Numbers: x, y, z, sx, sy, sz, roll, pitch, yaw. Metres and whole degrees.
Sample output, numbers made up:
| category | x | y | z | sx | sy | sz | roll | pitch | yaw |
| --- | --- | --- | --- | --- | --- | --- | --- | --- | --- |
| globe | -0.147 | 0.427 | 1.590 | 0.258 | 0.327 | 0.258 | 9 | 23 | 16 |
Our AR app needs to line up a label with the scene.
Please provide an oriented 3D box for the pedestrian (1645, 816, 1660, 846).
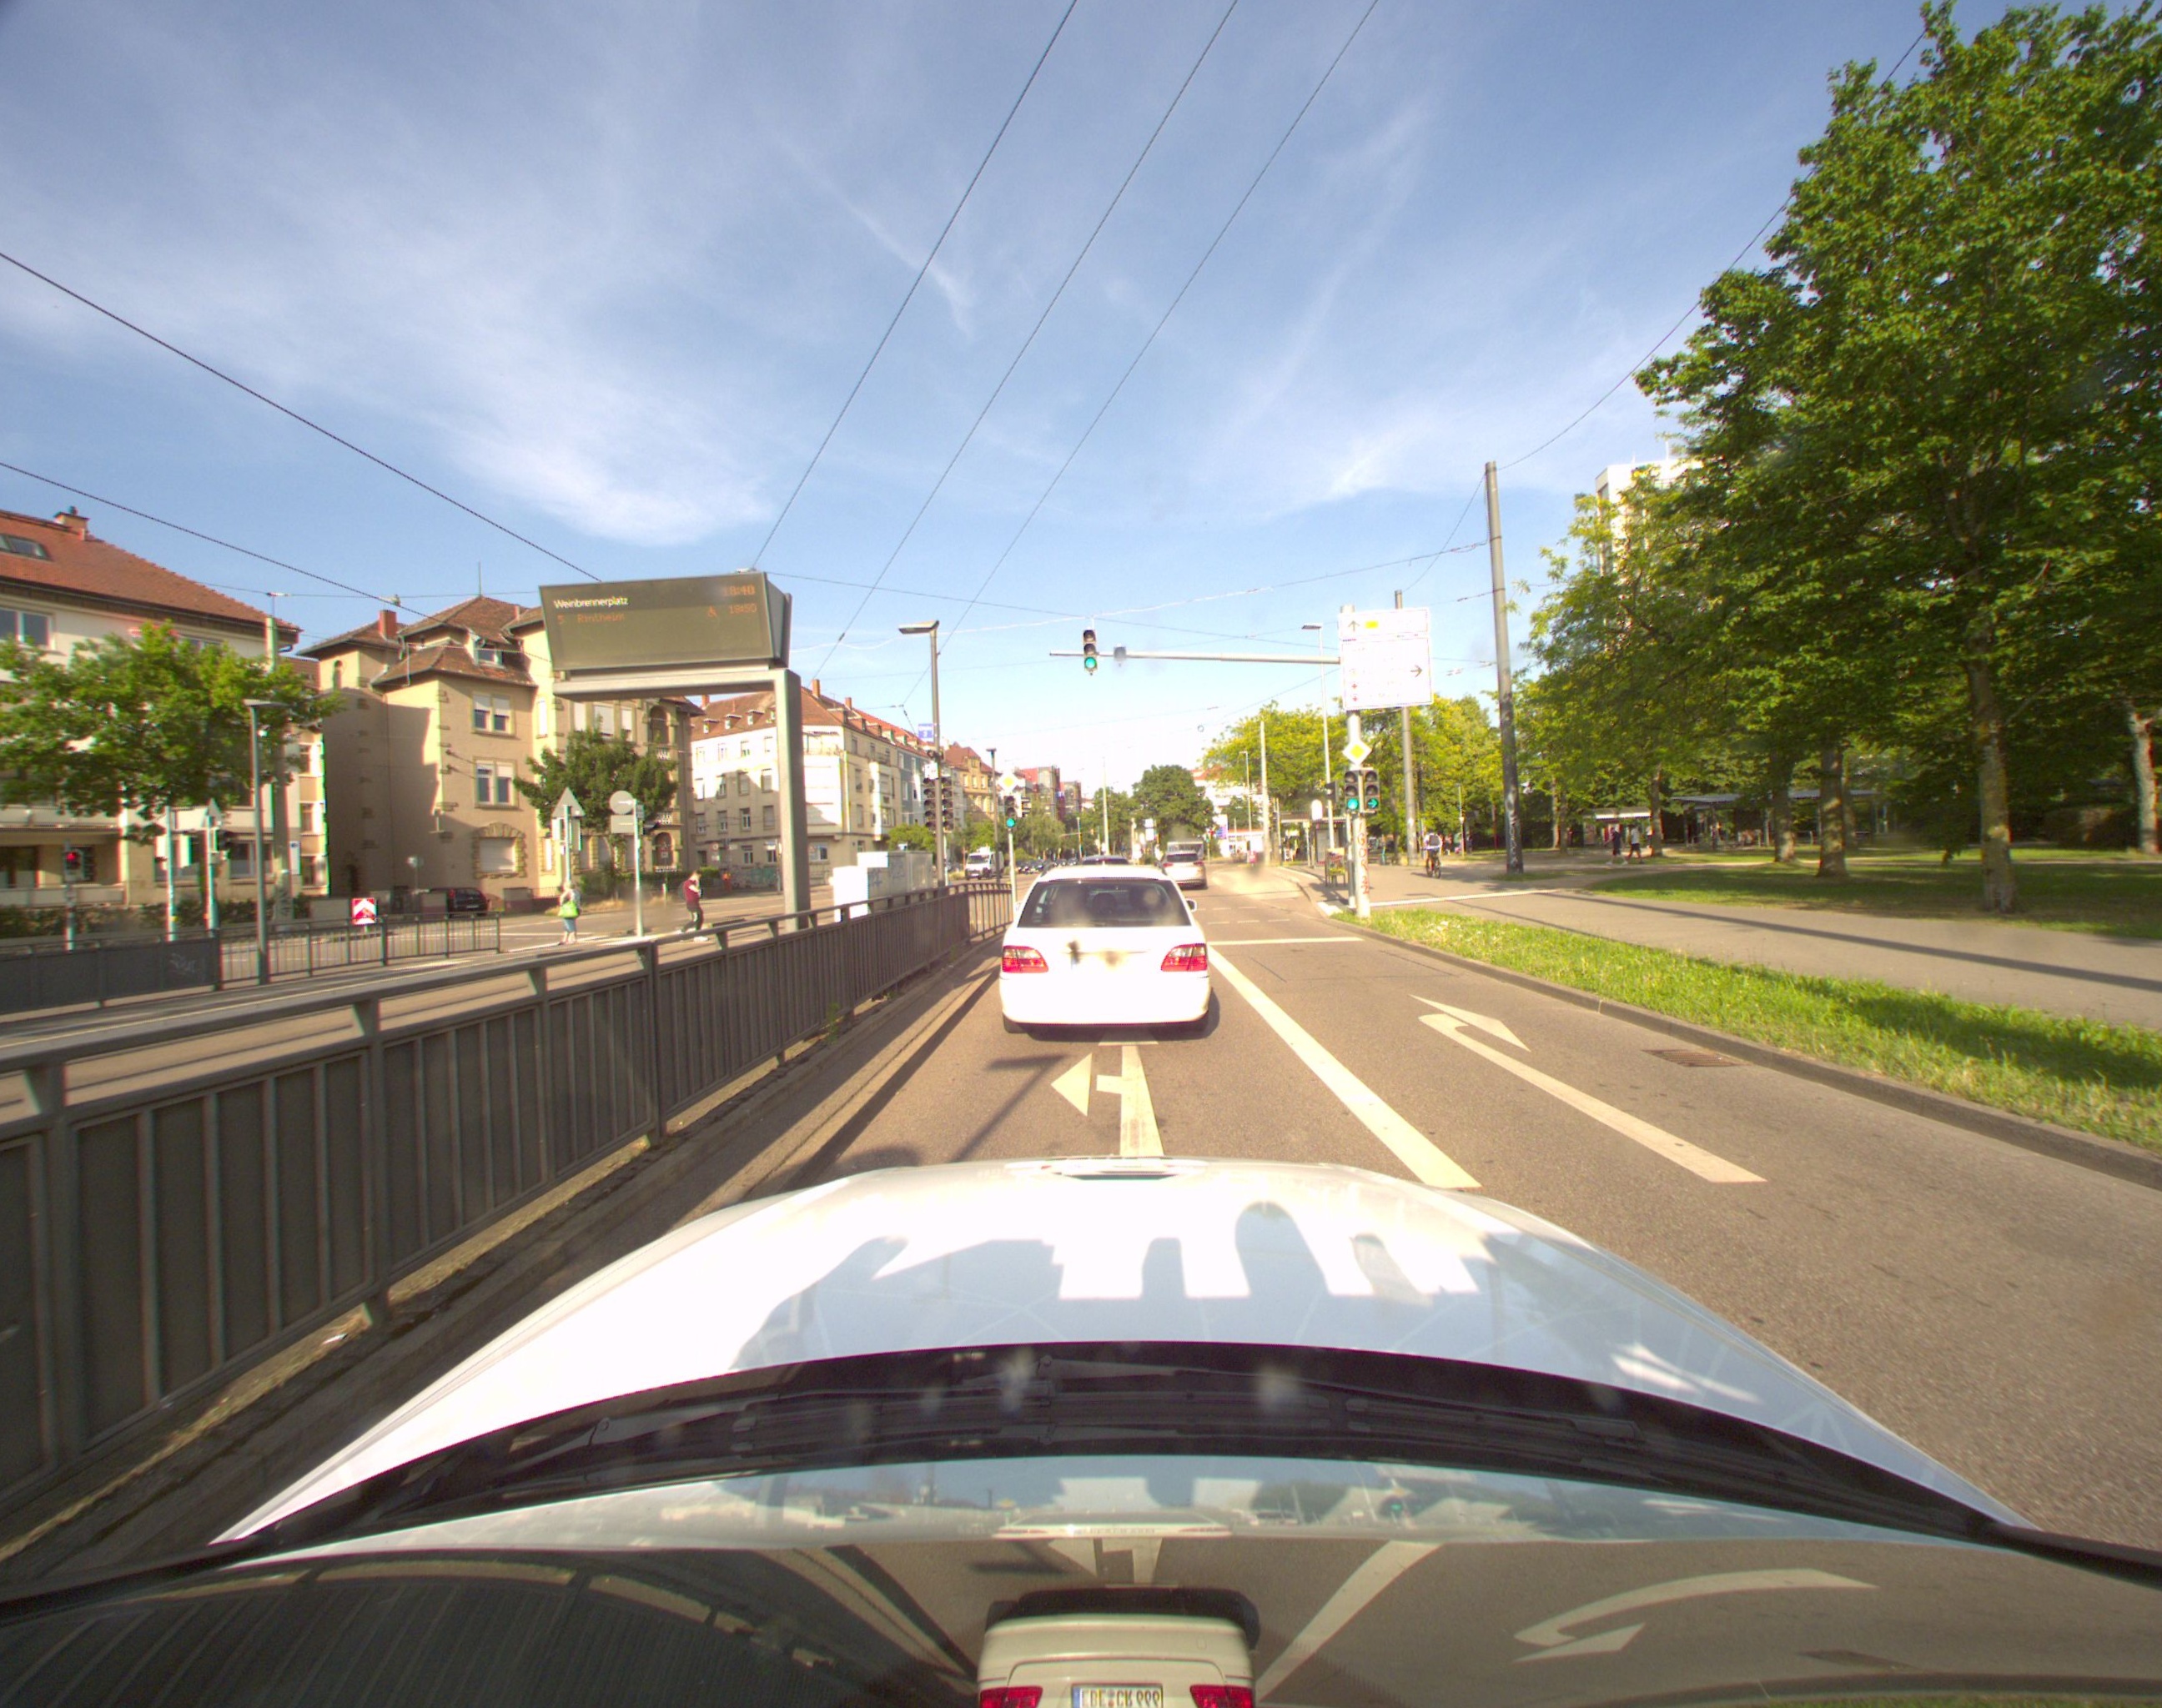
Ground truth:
| category | x | y | z | sx | sy | sz | roll | pitch | yaw |
| --- | --- | --- | --- | --- | --- | --- | --- | --- | --- |
| pedestrian | 35.692 | -1.429 | 50.856 | 0.463 | 1.868 | 0.600 | 0 | -1 | -29 |

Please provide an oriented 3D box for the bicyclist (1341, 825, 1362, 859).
| category | x | y | z | sx | sy | sz | roll | pitch | yaw |
| --- | --- | --- | --- | --- | --- | --- | --- | --- | --- |
| bicyclist | 14.780 | -0.645 | 44.521 | 0.716 | 1.745 | 1.142 | -6 | -1 | 5 |

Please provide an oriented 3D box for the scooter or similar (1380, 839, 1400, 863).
| category | x | y | z | sx | sy | sz | roll | pitch | yaw |
| --- | --- | --- | --- | --- | --- | --- | --- | --- | --- |
| scooter or similar | 16.122 | -0.131 | 42.510 | 0.351 | 1.232 | 1.131 | -3 | 0 | -12 |

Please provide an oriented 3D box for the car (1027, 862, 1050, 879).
| category | x | y | z | sx | sy | sz | roll | pitch | yaw |
| --- | --- | --- | --- | --- | --- | --- | --- | --- | --- |
| car | -4.494 | 1.688 | 85.987 | 1.759 | 1.494 | 4.750 | -3 | 1 | 4 |

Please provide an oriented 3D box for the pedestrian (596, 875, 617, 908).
| category | x | y | z | sx | sy | sz | roll | pitch | yaw |
| --- | --- | --- | --- | --- | --- | --- | --- | --- | --- |
| pedestrian | -24.071 | 1.890 | 41.340 | 0.672 | 1.651 | 0.608 | -3 | -1 | 28 |

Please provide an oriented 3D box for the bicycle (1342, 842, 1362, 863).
| category | x | y | z | sx | sy | sz | roll | pitch | yaw |
| --- | --- | --- | --- | --- | --- | --- | --- | --- | --- |
| bicycle | 14.902 | -0.091 | 44.817 | 0.637 | 1.088 | 1.736 | -5 | -1 | 6 |

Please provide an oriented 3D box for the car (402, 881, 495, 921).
| category | x | y | z | sx | sy | sz | roll | pitch | yaw |
| --- | --- | --- | --- | --- | --- | --- | --- | --- | --- |
| car | -29.407 | 2.179 | 37.849 | 3.950 | 1.632 | 1.787 | -3 | 0 | 26 |

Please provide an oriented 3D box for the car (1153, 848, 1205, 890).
| category | x | y | z | sx | sy | sz | roll | pitch | yaw |
| --- | --- | --- | --- | --- | --- | --- | --- | --- | --- |
| car | 4.023 | 0.603 | 33.897 | 1.828 | 1.600 | 3.817 | -1 | 0 | 2 |

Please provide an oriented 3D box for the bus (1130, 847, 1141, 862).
| category | x | y | z | sx | sy | sz | roll | pitch | yaw |
| --- | --- | --- | --- | --- | --- | --- | --- | --- | --- |
| bus | 9.604 | 0.180 | 143.254 | 1.790 | 2.555 | 4.004 | 0 | -1 | 4 |

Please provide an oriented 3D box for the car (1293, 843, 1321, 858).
| category | x | y | z | sx | sy | sz | roll | pitch | yaw |
| --- | --- | --- | --- | --- | --- | --- | --- | --- | --- |
| car | 25.309 | -0.403 | 91.115 | 1.835 | 1.515 | 4.026 | -5 | -1 | 32 |

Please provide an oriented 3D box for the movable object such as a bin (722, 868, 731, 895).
| category | x | y | z | sx | sy | sz | roll | pitch | yaw |
| --- | --- | --- | --- | --- | --- | --- | --- | --- | --- |
| movable object such as a bin | -23.512 | 1.810 | 54.045 | 0.265 | 1.709 | 2.360 | -3 | 0 | -29 |

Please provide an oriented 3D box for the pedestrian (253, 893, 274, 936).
| category | x | y | z | sx | sy | sz | roll | pitch | yaw |
| --- | --- | --- | --- | --- | --- | --- | --- | --- | --- |
| pedestrian | -29.509 | 2.195 | 29.408 | 0.400 | 1.516 | 0.392 | -3 | -1 | 28 |

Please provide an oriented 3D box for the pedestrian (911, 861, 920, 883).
| category | x | y | z | sx | sy | sz | roll | pitch | yaw |
| --- | --- | --- | --- | --- | --- | --- | --- | --- | --- |
| pedestrian | -14.425 | 1.607 | 71.051 | 0.582 | 1.881 | 0.627 | -3 | 0 | 2 |

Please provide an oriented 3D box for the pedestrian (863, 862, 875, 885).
| category | x | y | z | sx | sy | sz | roll | pitch | yaw |
| --- | --- | --- | --- | --- | --- | --- | --- | --- | --- |
| pedestrian | -17.640 | 1.600 | 67.890 | 0.653 | 1.881 | 0.629 | -3 | 0 | 16 |

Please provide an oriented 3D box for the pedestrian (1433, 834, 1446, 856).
| category | x | y | z | sx | sy | sz | roll | pitch | yaw |
| --- | --- | --- | --- | --- | --- | --- | --- | --- | --- |
| pedestrian | 27.017 | -0.642 | 61.326 | 0.638 | 1.610 | 0.691 | -3 | -1 | 1 |

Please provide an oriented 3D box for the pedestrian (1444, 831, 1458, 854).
| category | x | y | z | sx | sy | sz | roll | pitch | yaw |
| --- | --- | --- | --- | --- | --- | --- | --- | --- | --- |
| pedestrian | 27.390 | -0.822 | 60.320 | 0.638 | 1.665 | 0.691 | -3 | -1 | 1 |

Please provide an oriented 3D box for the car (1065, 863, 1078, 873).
| category | x | y | z | sx | sy | sz | roll | pitch | yaw |
| --- | --- | --- | --- | --- | --- | --- | --- | --- | --- |
| car | -1.519 | 2.301 | 133.933 | 1.680 | 1.420 | 4.006 | -3 | -1 | 6 |

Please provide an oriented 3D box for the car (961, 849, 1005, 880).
| category | x | y | z | sx | sy | sz | roll | pitch | yaw |
| --- | --- | --- | --- | --- | --- | --- | --- | --- | --- |
| car | -7.823 | 0.809 | 65.584 | 2.165 | 2.239 | 5.264 | -3 | 0 | 8 |

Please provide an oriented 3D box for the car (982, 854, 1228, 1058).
| category | x | y | z | sx | sy | sz | roll | pitch | yaw |
| --- | --- | --- | --- | --- | --- | --- | --- | --- | --- |
| car | 0.244 | 0.778 | 8.057 | 1.828 | 1.501 | 3.817 | -1 | 0 | 2 |

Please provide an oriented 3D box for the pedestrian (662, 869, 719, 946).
| category | x | y | z | sx | sy | sz | roll | pitch | yaw |
| --- | --- | --- | --- | --- | --- | --- | --- | --- | --- |
| pedestrian | -8.947 | 1.209 | 18.689 | 0.876 | 1.670 | 0.672 | -3 | -1 | 4 |

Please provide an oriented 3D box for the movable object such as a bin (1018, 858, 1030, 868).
| category | x | y | z | sx | sy | sz | roll | pitch | yaw |
| --- | --- | --- | --- | --- | --- | --- | --- | --- | --- |
| movable object such as a bin | -8.488 | 1.381 | 120.884 | 1.600 | 1.421 | 1.082 | -3 | 0 | -5 |

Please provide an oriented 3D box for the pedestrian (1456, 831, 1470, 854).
| category | x | y | z | sx | sy | sz | roll | pitch | yaw |
| --- | --- | --- | --- | --- | --- | --- | --- | --- | --- |
| pedestrian | 27.778 | -0.845 | 59.289 | 0.638 | 1.665 | 0.691 | -3 | -1 | 1 |

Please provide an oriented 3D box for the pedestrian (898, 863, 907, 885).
| category | x | y | z | sx | sy | sz | roll | pitch | yaw |
| --- | --- | --- | --- | --- | --- | --- | --- | --- | --- |
| pedestrian | -15.509 | 1.724 | 70.691 | 0.582 | 1.881 | 0.626 | -3 | 0 | -1 |

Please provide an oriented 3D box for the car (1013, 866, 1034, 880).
| category | x | y | z | sx | sy | sz | roll | pitch | yaw |
| --- | --- | --- | --- | --- | --- | --- | --- | --- | --- |
| car | -6.642 | 2.221 | 94.438 | 1.759 | 1.433 | 4.005 | -3 | 0 | 4 |

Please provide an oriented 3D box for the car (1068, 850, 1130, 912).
| category | x | y | z | sx | sy | sz | roll | pitch | yaw |
| --- | --- | --- | --- | --- | --- | --- | --- | --- | --- |
| car | 0.542 | 0.724 | 23.595 | 1.635 | 1.600 | 3.817 | -1 | 0 | 2 |

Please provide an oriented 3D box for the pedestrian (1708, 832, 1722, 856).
| category | x | y | z | sx | sy | sz | roll | pitch | yaw |
| --- | --- | --- | --- | --- | --- | --- | --- | --- | --- |
| pedestrian | 47.513 | -0.717 | 61.034 | 0.666 | 1.800 | 0.613 | -1 | -1 | 15 |

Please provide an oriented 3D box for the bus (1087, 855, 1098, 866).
| category | x | y | z | sx | sy | sz | roll | pitch | yaw |
| --- | --- | --- | --- | --- | --- | --- | --- | --- | --- |
| bus | 1.958 | 1.071 | 137.548 | 1.837 | 1.636 | 4.161 | -3 | 0 | 2 |

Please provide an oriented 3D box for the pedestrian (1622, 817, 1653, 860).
| category | x | y | z | sx | sy | sz | roll | pitch | yaw |
| --- | --- | --- | --- | --- | --- | --- | --- | --- | --- |
| pedestrian | 24.914 | -0.665 | 36.463 | 0.674 | 1.897 | 0.872 | 0 | -1 | -26 |

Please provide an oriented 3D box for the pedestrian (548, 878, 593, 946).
| category | x | y | z | sx | sy | sz | roll | pitch | yaw |
| --- | --- | --- | --- | --- | --- | --- | --- | --- | --- |
| pedestrian | -12.449 | 1.409 | 19.877 | 0.588 | 1.589 | 0.715 | -3 | -1 | -2 |

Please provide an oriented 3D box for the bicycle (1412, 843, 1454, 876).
| category | x | y | z | sx | sy | sz | roll | pitch | yaw |
| --- | --- | --- | --- | --- | --- | --- | --- | --- | --- |
| bicycle | 12.867 | 0.203 | 29.834 | 0.638 | 1.088 | 1.940 | -5 | -1 | 1 |

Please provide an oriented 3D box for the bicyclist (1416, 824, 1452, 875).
| category | x | y | z | sx | sy | sz | roll | pitch | yaw |
| --- | --- | --- | --- | --- | --- | --- | --- | --- | --- |
| bicyclist | 12.827 | -0.160 | 29.607 | 0.647 | 1.745 | 1.140 | -6 | -1 | 1 |

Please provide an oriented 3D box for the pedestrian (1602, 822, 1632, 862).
| category | x | y | z | sx | sy | sz | roll | pitch | yaw |
| --- | --- | --- | --- | --- | --- | --- | --- | --- | --- |
| pedestrian | 23.922 | -0.538 | 36.361 | 0.673 | 1.777 | 0.875 | 0 | 0 | -18 |

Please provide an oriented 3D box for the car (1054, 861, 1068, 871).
| category | x | y | z | sx | sy | sz | roll | pitch | yaw |
| --- | --- | --- | --- | --- | --- | --- | --- | --- | --- |
| car | -2.991 | 1.788 | 122.572 | 1.681 | 1.441 | 4.007 | -3 | 0 | 6 |

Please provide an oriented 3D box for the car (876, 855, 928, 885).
| category | x | y | z | sx | sy | sz | roll | pitch | yaw |
| --- | --- | --- | --- | --- | --- | --- | --- | --- | --- |
| car | -10.755 | 0.936 | 49.203 | 1.667 | 1.526 | 4.133 | -3 | 1 | 7 |
